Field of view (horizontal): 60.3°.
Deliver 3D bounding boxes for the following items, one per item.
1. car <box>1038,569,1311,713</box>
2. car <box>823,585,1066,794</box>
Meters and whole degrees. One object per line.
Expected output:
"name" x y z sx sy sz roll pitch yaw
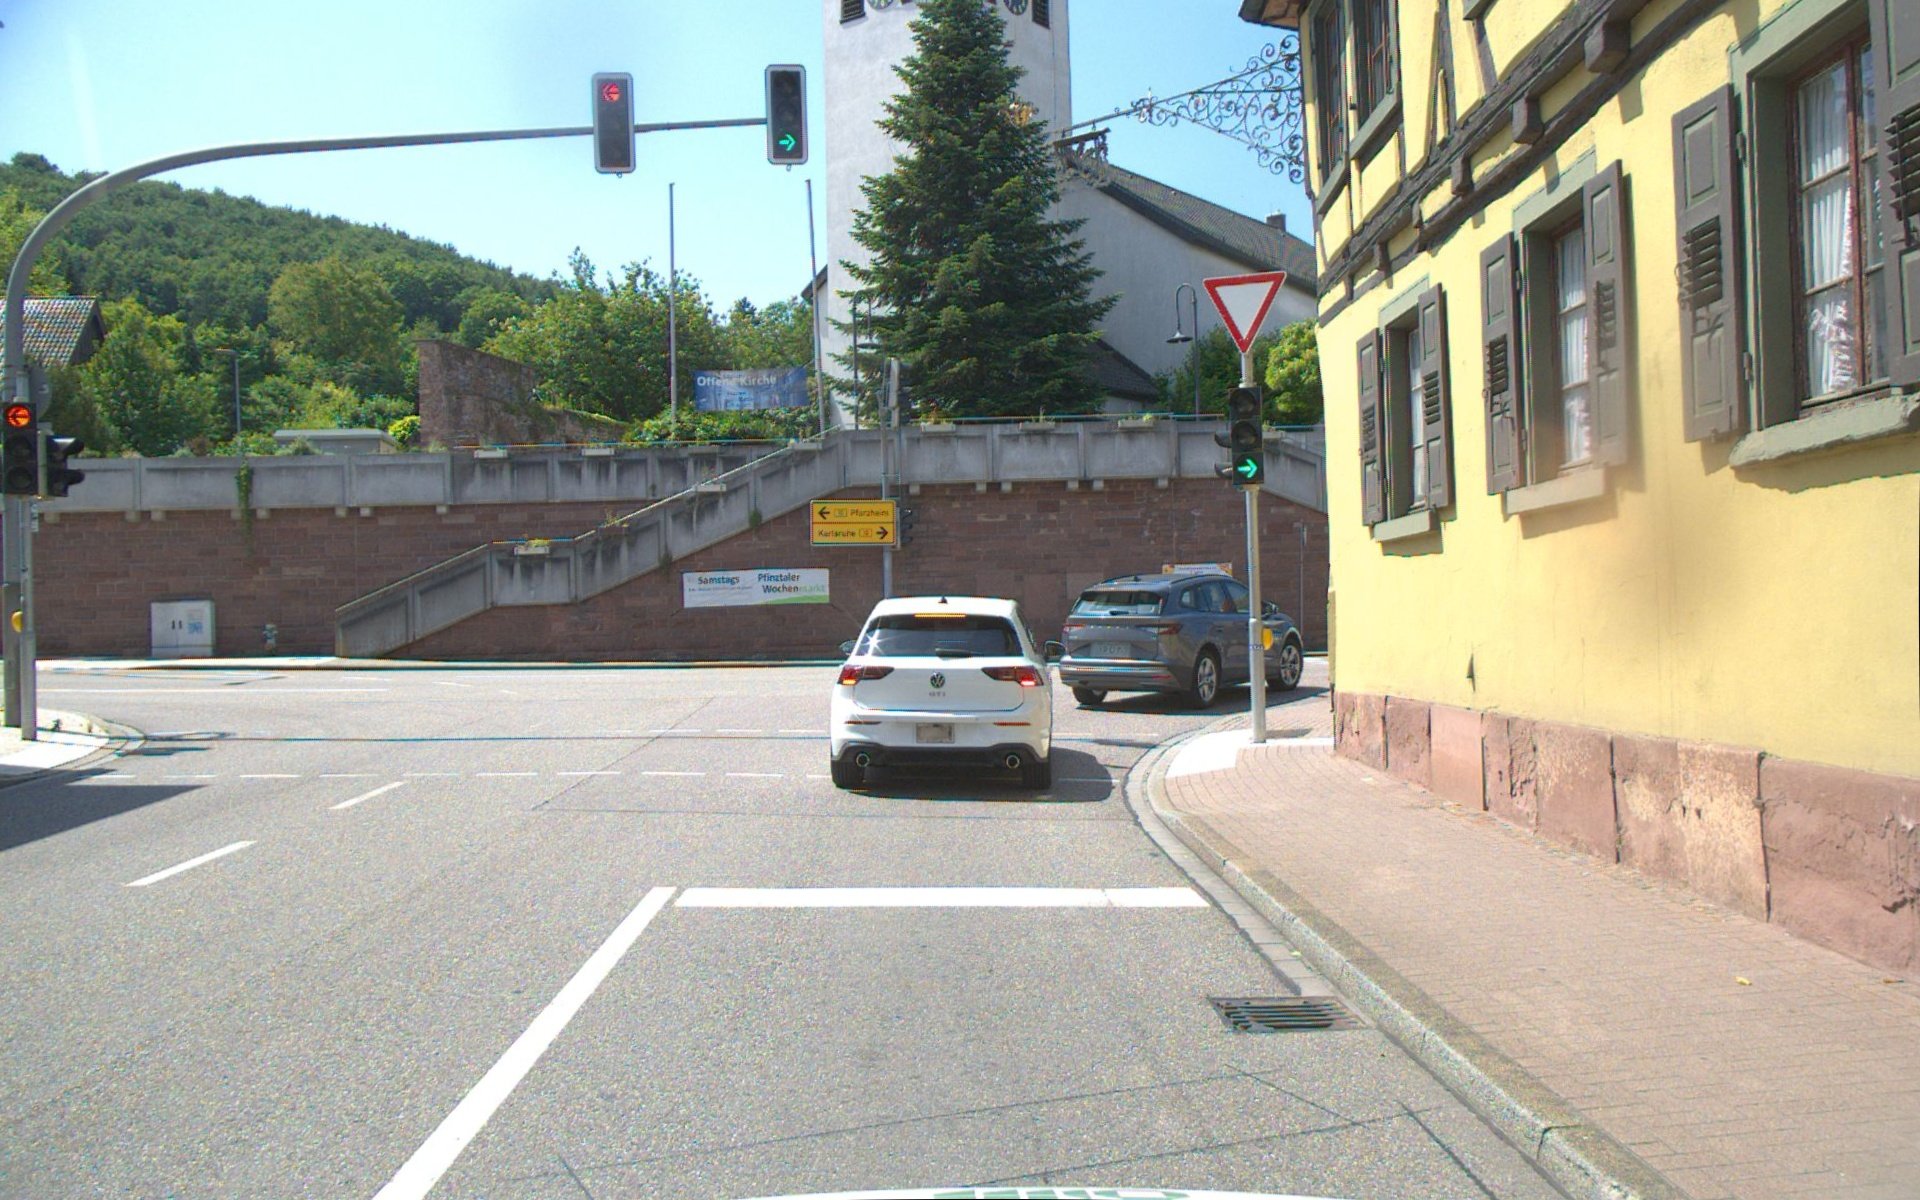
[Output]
"car" 2.930 0.448 21.734 1.914 1.610 4.315 0 2 32
"car" -0.044 0.660 14.015 1.745 1.484 3.864 -1 0 2
